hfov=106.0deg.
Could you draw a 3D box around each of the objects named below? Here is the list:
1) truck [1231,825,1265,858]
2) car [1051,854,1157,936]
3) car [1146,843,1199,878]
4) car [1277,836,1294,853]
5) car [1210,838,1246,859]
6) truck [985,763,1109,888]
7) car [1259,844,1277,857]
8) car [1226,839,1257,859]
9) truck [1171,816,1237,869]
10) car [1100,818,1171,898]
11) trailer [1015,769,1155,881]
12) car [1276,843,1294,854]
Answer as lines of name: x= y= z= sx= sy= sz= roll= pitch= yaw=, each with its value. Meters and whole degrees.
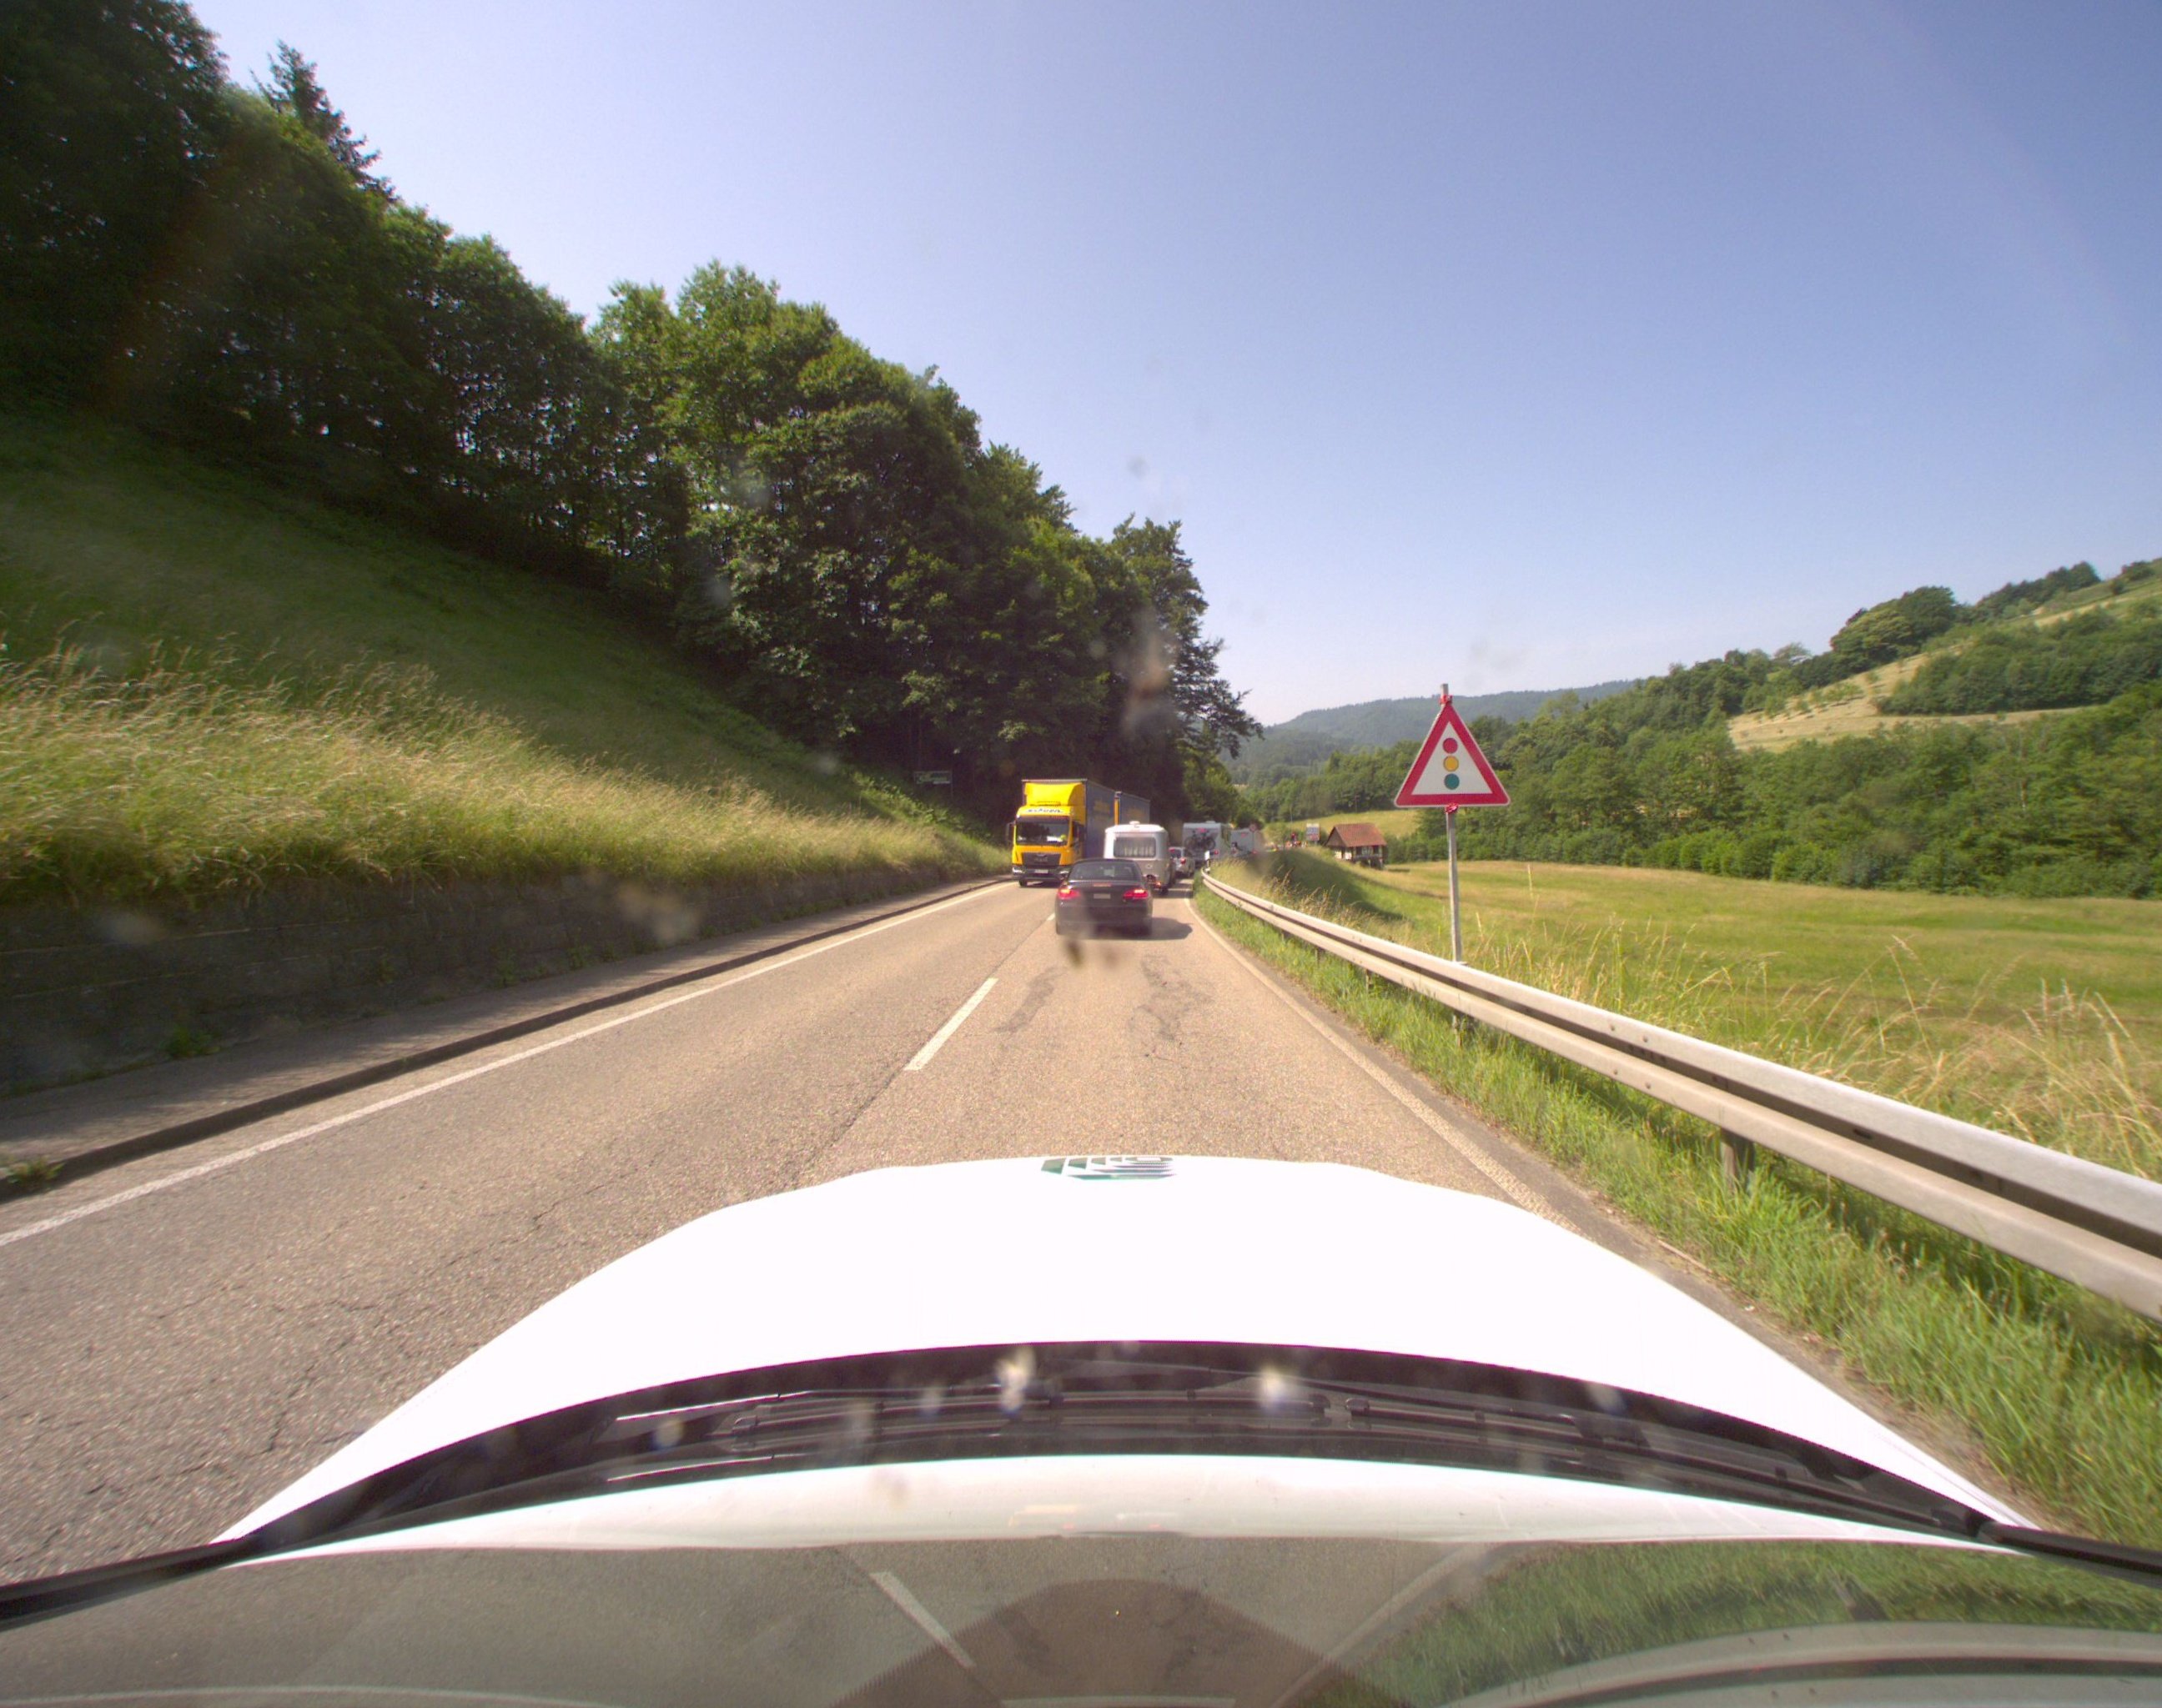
truck: x=14.900 y=-1.031 z=72.531 sx=2.219 sy=2.804 sz=6.261 roll=1 pitch=0 yaw=18
car: x=0.462 y=0.686 z=15.565 sx=1.764 sy=1.335 sz=3.769 roll=0 pitch=1 yaw=2
car: x=4.405 y=0.263 z=38.709 sx=1.979 sy=1.484 sz=4.015 roll=2 pitch=1 yaw=14
car: x=26.055 y=-1.159 z=103.742 sx=1.979 sy=1.925 sz=4.015 roll=4 pitch=0 yaw=15
car: x=10.961 y=-0.429 z=60.477 sx=1.977 sy=1.463 sz=4.020 roll=2 pitch=2 yaw=20
truck: x=-1.121 y=-1.108 z=32.311 sx=3.166 sy=4.396 sz=6.596 roll=1 pitch=2 yaw=13
car: x=21.699 y=-0.360 z=94.537 sx=1.893 sy=1.486 sz=4.015 roll=1 pitch=0 yaw=14
car: x=13.016 y=-0.423 z=65.934 sx=1.772 sy=1.463 sz=4.021 roll=2 pitch=2 yaw=21
truck: x=7.807 y=-0.742 z=50.920 sx=2.768 sy=2.997 sz=6.901 roll=2 pitch=2 yaw=19
car: x=1.883 y=0.039 z=26.577 sx=1.983 sy=2.352 sz=4.925 roll=0 pitch=2 yaw=7
trailer: x=0.798 y=-1.302 z=39.999 sx=3.236 sy=4.417 sz=15.375 roll=1 pitch=1 yaw=14
car: x=30.327 y=-0.849 z=120.969 sx=1.976 sy=1.575 sz=4.021 roll=1 pitch=0 yaw=22
